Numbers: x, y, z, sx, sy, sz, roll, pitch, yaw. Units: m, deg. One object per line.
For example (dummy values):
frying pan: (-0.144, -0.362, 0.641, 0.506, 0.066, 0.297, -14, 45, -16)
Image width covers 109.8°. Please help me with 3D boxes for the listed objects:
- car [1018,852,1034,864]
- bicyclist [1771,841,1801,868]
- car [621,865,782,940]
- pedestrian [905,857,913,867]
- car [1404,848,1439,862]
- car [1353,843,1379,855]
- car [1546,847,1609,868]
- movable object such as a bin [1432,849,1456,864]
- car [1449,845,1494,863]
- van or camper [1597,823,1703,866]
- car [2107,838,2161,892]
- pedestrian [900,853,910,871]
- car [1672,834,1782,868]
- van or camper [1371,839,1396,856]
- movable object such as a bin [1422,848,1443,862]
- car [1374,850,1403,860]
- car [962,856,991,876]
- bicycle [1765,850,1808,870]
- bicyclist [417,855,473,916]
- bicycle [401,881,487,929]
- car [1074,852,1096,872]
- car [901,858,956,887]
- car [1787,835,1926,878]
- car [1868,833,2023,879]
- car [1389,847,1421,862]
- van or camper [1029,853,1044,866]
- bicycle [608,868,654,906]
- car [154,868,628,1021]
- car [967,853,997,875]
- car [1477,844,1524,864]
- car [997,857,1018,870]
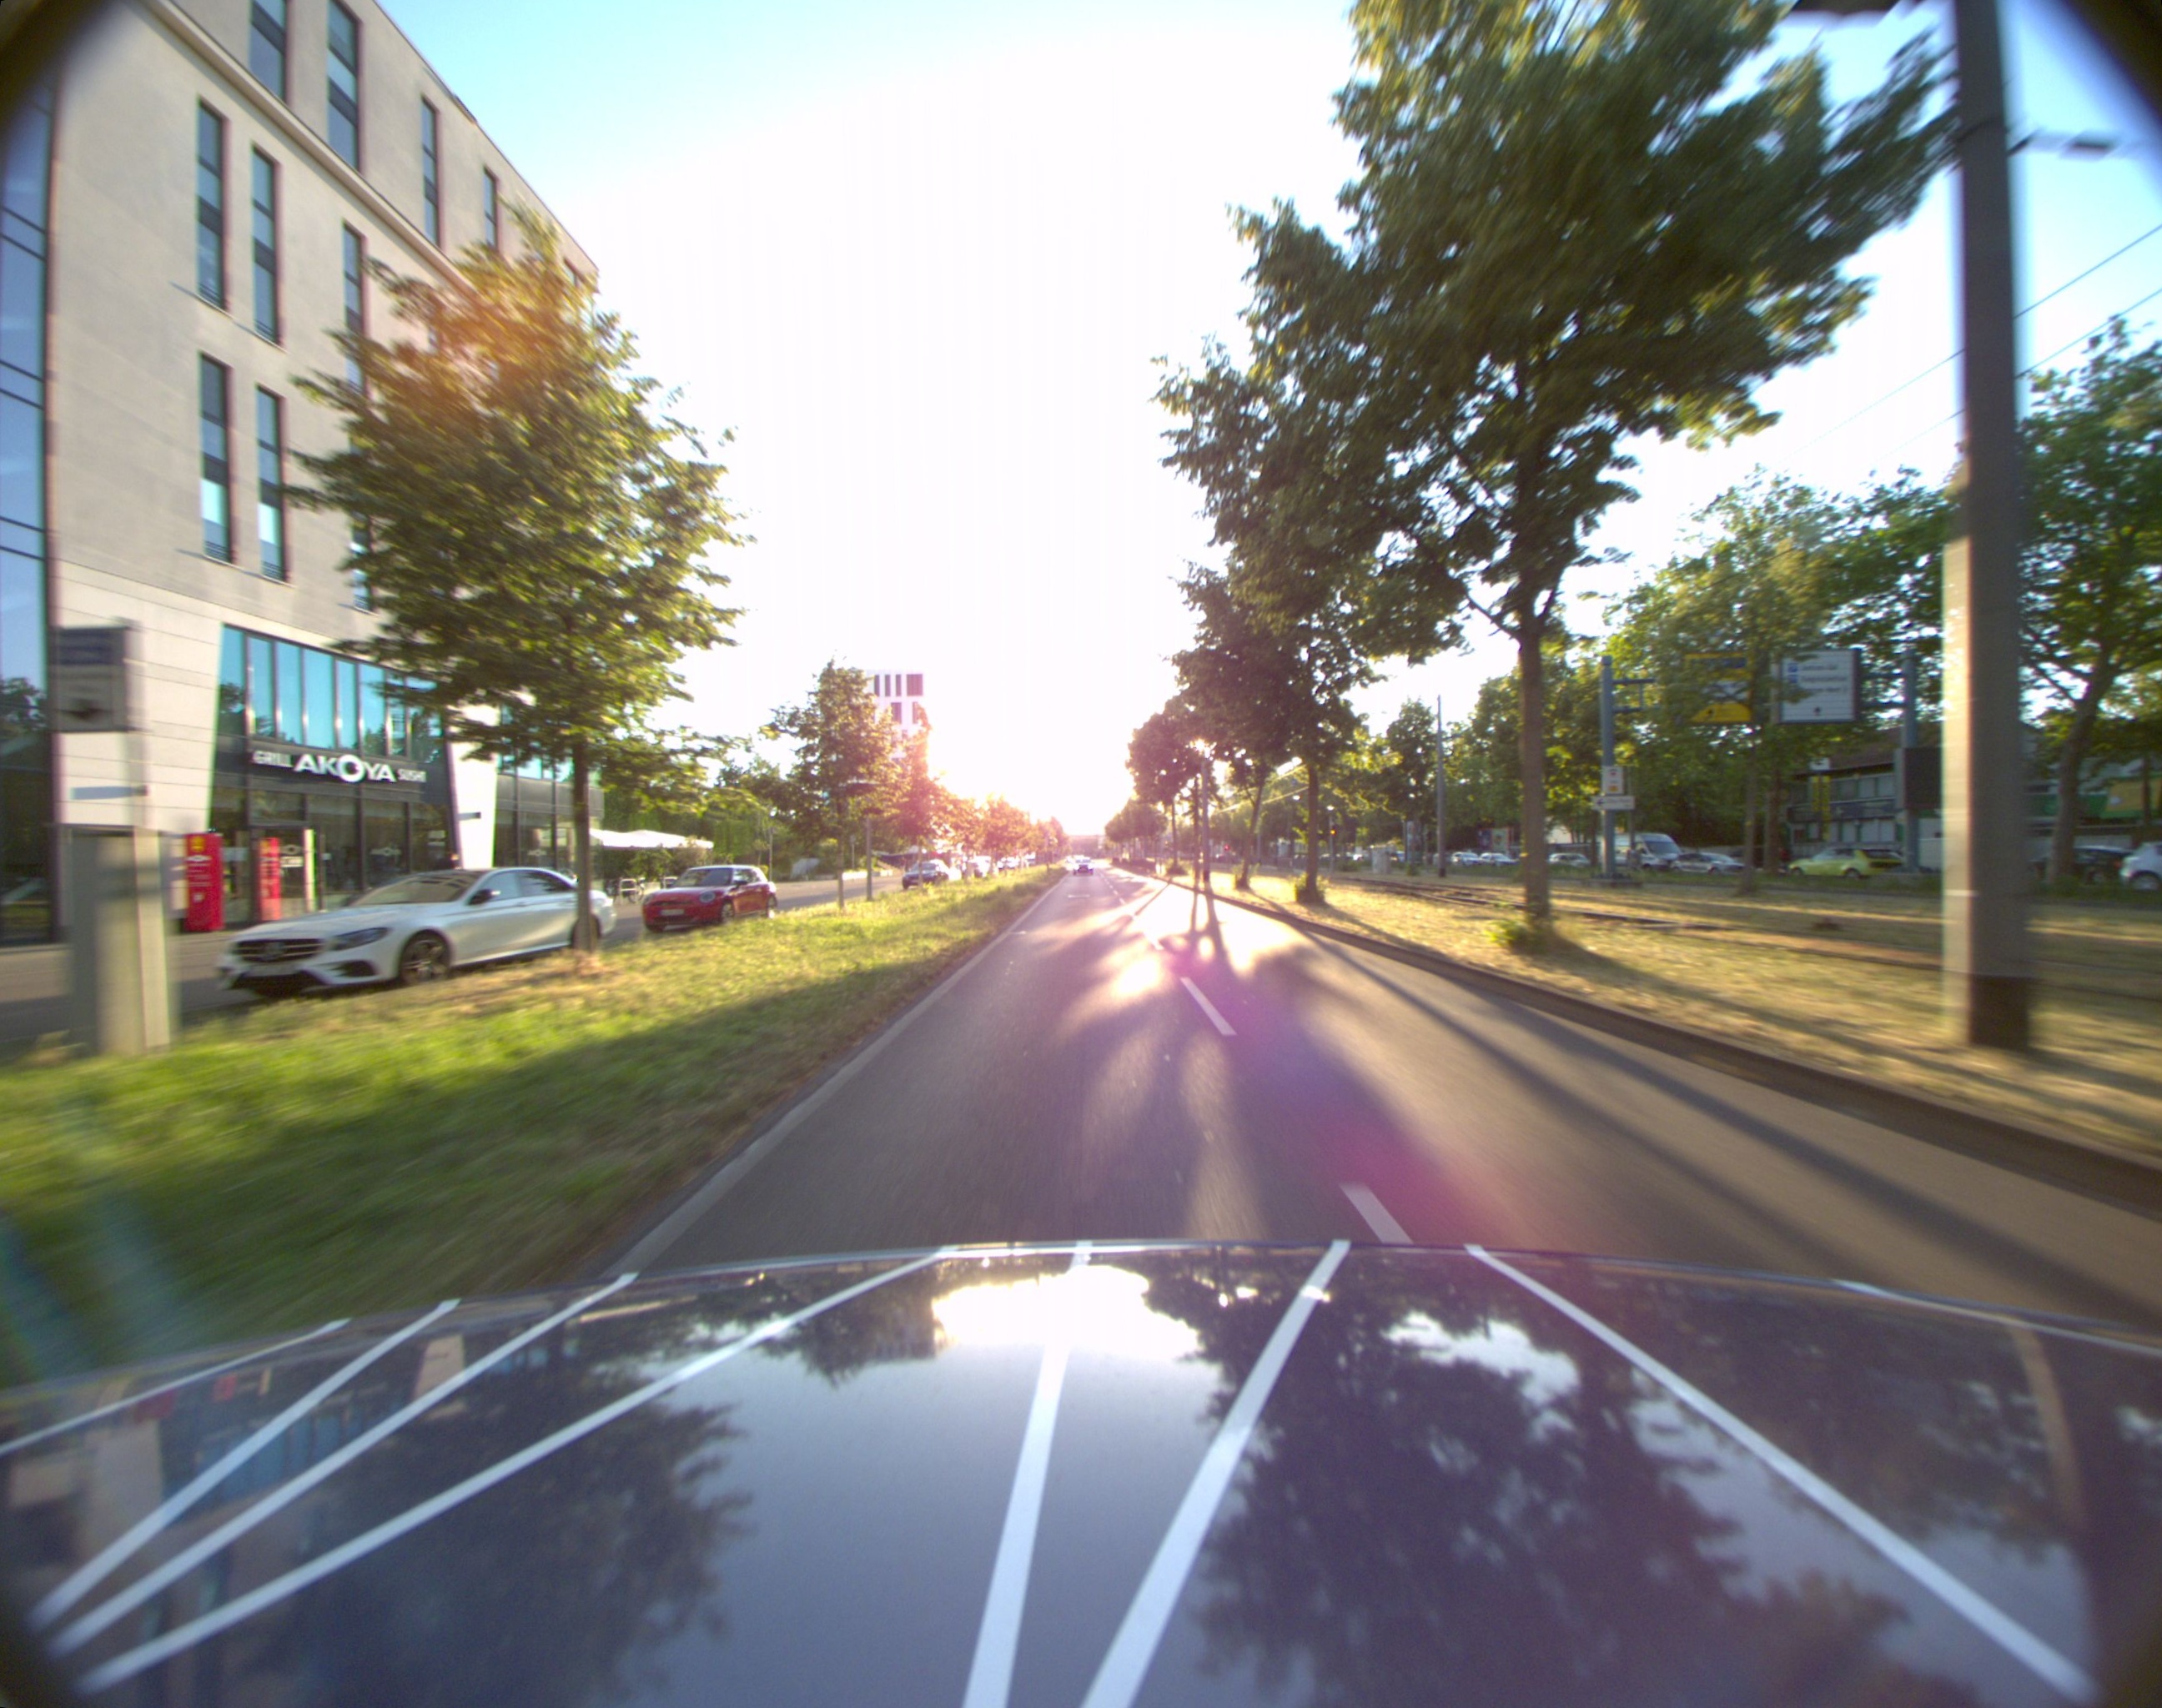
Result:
car: (-7.376, 0.497, 101.554, 1.813, 1.492, 4.479, -1, 0, 0)
bicyclist: (40.038, 0.041, 43.167, 0.730, 1.524, 1.086, -1, 0, 6)
car: (-8.802, 1.053, 18.035, 1.813, 1.492, 3.959, -1, 0, 0)
pedestrian: (-20.564, 0.950, 90.648, 0.745, 1.258, 0.771, -1, 0, 1)
car: (36.320, 0.116, 81.133, 1.998, 1.440, 4.001, -1, 0, 2)
car: (37.098, -0.628, 99.036, 1.998, 1.399, 4.001, -1, 0, 3)
car: (36.220, 0.239, 55.569, 1.998, 1.492, 4.098, -1, 0, 2)
movable object such as a bin: (34.992, 0.262, 73.280, 1.556, 1.364, 1.724, -1, 0, 2)
car: (35.259, -0.003, 68.749, 1.998, 1.491, 4.299, -1, 0, 2)
van or camper: (33.399, -0.531, 44.879, 2.289, 2.351, 5.785, -1, 0, 5)
car: (30.896, 0.296, 19.888, 1.998, 1.490, 4.557, -1, 0, 1)
pedestrian: (-16.415, 0.766, 70.898, 0.696, 1.645, 1.078, -1, 0, 0)
car: (32.767, -0.135, 38.695, 1.999, 1.627, 4.209, -1, 0, -1)
van or camper: (49.112, -1.033, 123.459, 2.397, 2.548, 5.635, -1, 0, 6)
movable object such as a bin: (35.248, 0.074, 76.199, 1.412, 1.403, 1.701, -1, 0, 2)
car: (37.281, 0.126, 92.327, 1.998, 1.194, 4.090, -1, 0, 2)
car: (-8.153, 0.911, 59.593, 1.754, 1.390, 4.000, -2, 0, 0)
bicycle: (40.038, 0.337, 43.147, 0.732, 1.084, 2.017, -1, 0, 6)
bicyclist: (-16.761, 0.822, 20.052, 0.545, 1.559, 1.020, -1, 0, 4)
bicycle: (-16.747, 1.322, 20.037, 0.544, 1.111, 1.913, -1, 0, 4)
car: (0.307, 0.685, 66.035, 1.828, 1.625, 4.000, -1, 0, 0)
car: (-8.289, 0.966, 41.596, 1.812, 1.492, 4.369, -1, 0, 4)
car: (31.860, 0.088, 31.399, 1.997, 1.630, 4.002, -1, 0, 8)
car: (41.668, 0.088, 36.849, 1.998, 2.002, 5.060, -1, 0, 4)
car: (36.919, 0.028, 86.740, 1.998, 1.576, 4.298, -1, 0, 2)
van or camper: (-6.957, 0.919, 119.079, 1.963, 1.908, 4.830, -3, 0, 1)
bicycle: (-15.711, 1.126, 26.551, 0.618, 1.224, 1.670, -1, 0, -1)
car: (-8.728, 0.994, 10.471, 1.926, 1.492, 5.009, -1, 0, 0)
car: (-8.363, 0.836, 64.723, 1.813, 1.622, 4.676, -6, 0, 0)
car: (34.702, -0.013, 62.974, 1.814, 1.522, 4.054, -1, 0, 2)
car: (-8.362, 1.064, 86.912, 1.924, 1.492, 5.411, -1, 0, 0)
